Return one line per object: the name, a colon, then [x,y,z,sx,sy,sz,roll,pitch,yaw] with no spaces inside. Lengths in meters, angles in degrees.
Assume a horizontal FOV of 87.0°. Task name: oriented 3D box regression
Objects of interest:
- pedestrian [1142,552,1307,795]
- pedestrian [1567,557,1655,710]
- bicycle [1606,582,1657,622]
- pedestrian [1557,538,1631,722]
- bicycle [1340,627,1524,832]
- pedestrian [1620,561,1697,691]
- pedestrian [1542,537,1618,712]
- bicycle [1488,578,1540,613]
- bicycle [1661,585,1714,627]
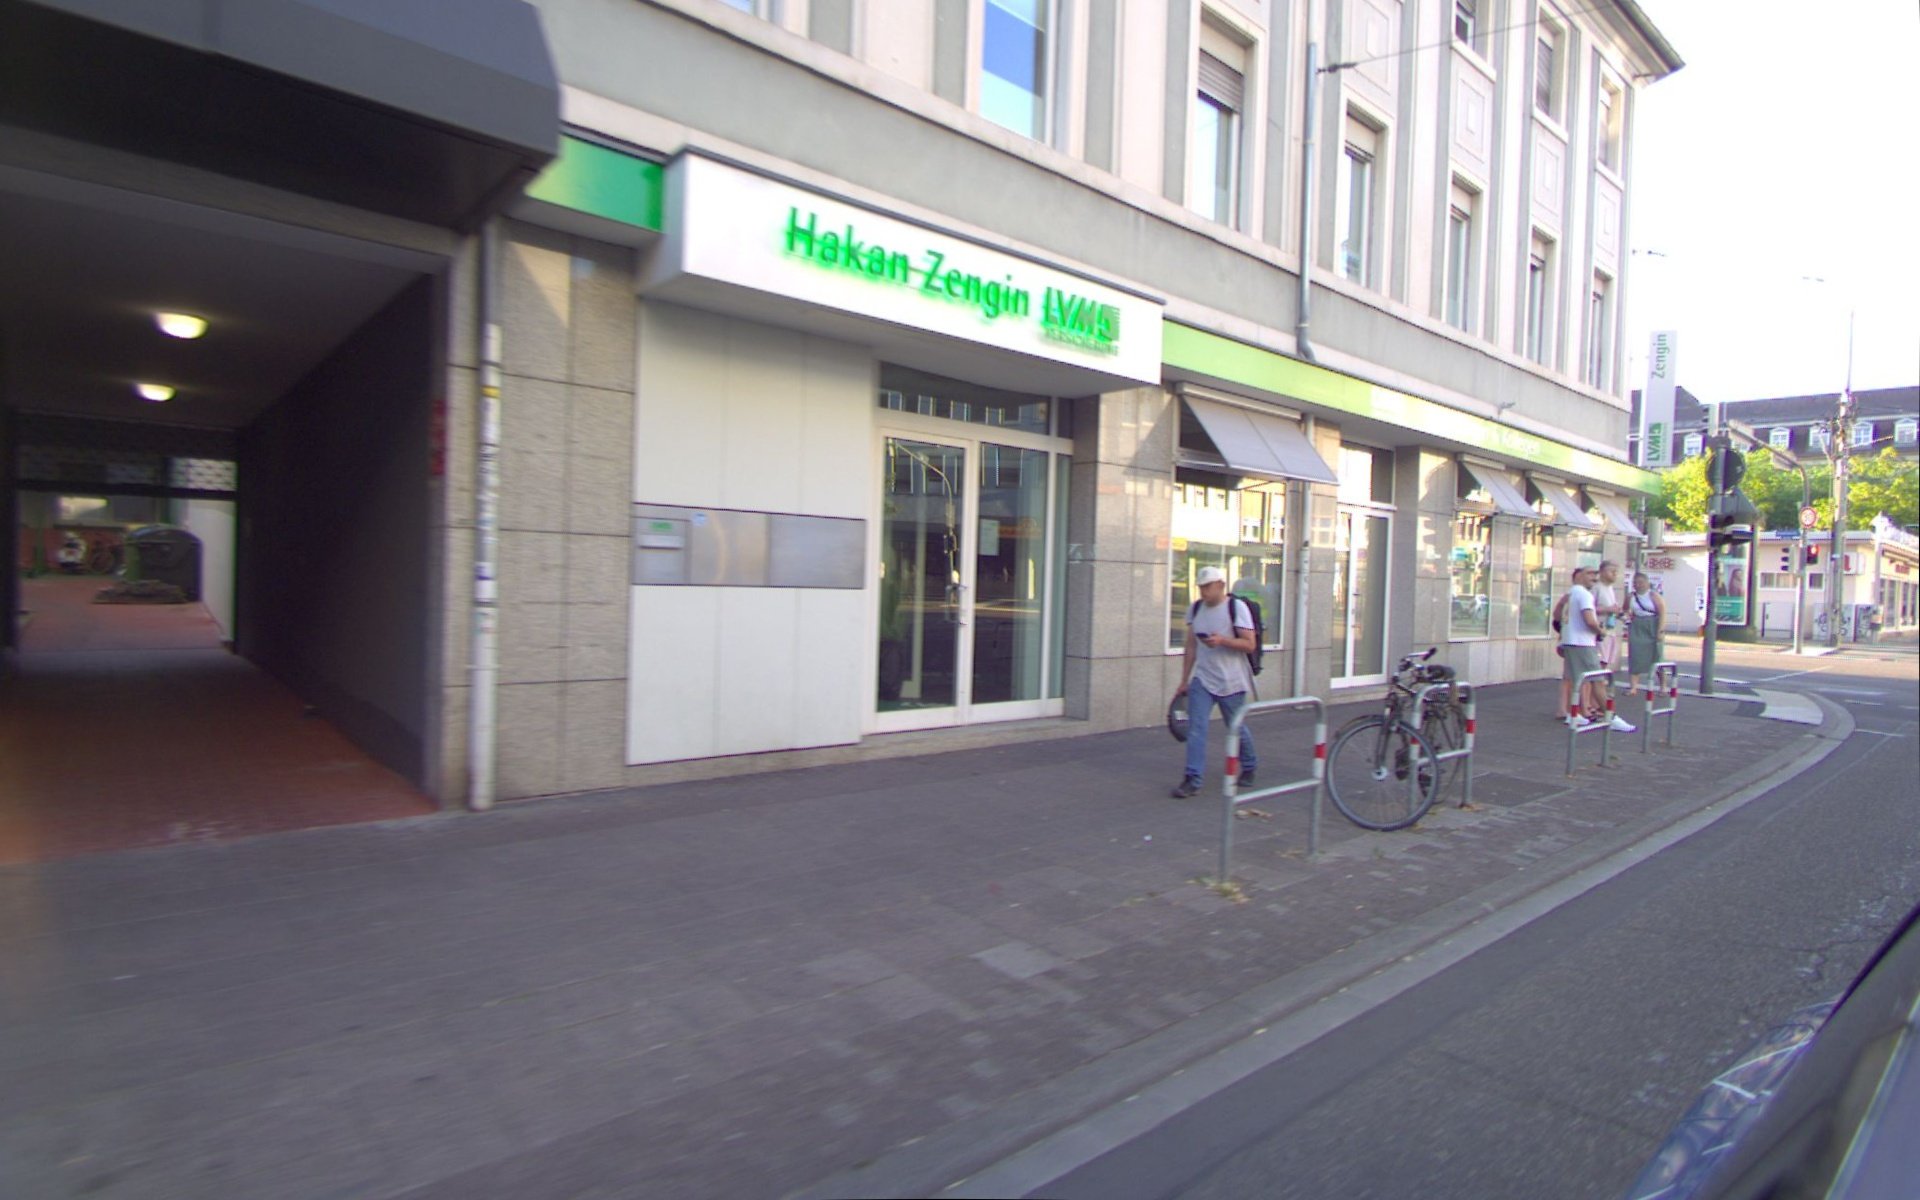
pedestrian: [1.847,0.462,7.070,0.854,1.567,0.699,1,2,-38]
pedestrian: [7.831,0.377,12.177,0.686,1.767,0.639,1,2,-38]
bicycle: [26.982,0.089,40.639,1.950,1.541,0.480,1,1,-15]
pedestrian: [6.954,0.309,11.106,0.573,1.952,0.489,3,2,39]
bicycle: [3.094,0.768,6.564,1.620,1.103,0.478,0,4,-44]
pedestrian: [9.963,0.353,14.443,0.635,1.800,0.672,1,2,-36]
pedestrian: [7.161,0.263,11.689,0.637,1.952,0.522,3,2,38]
bicycle: [25.426,-0.190,46.464,2.183,1.541,0.682,1,1,-15]
bicycle: [27.502,0.222,38.274,1.950,1.541,0.480,1,1,-16]
